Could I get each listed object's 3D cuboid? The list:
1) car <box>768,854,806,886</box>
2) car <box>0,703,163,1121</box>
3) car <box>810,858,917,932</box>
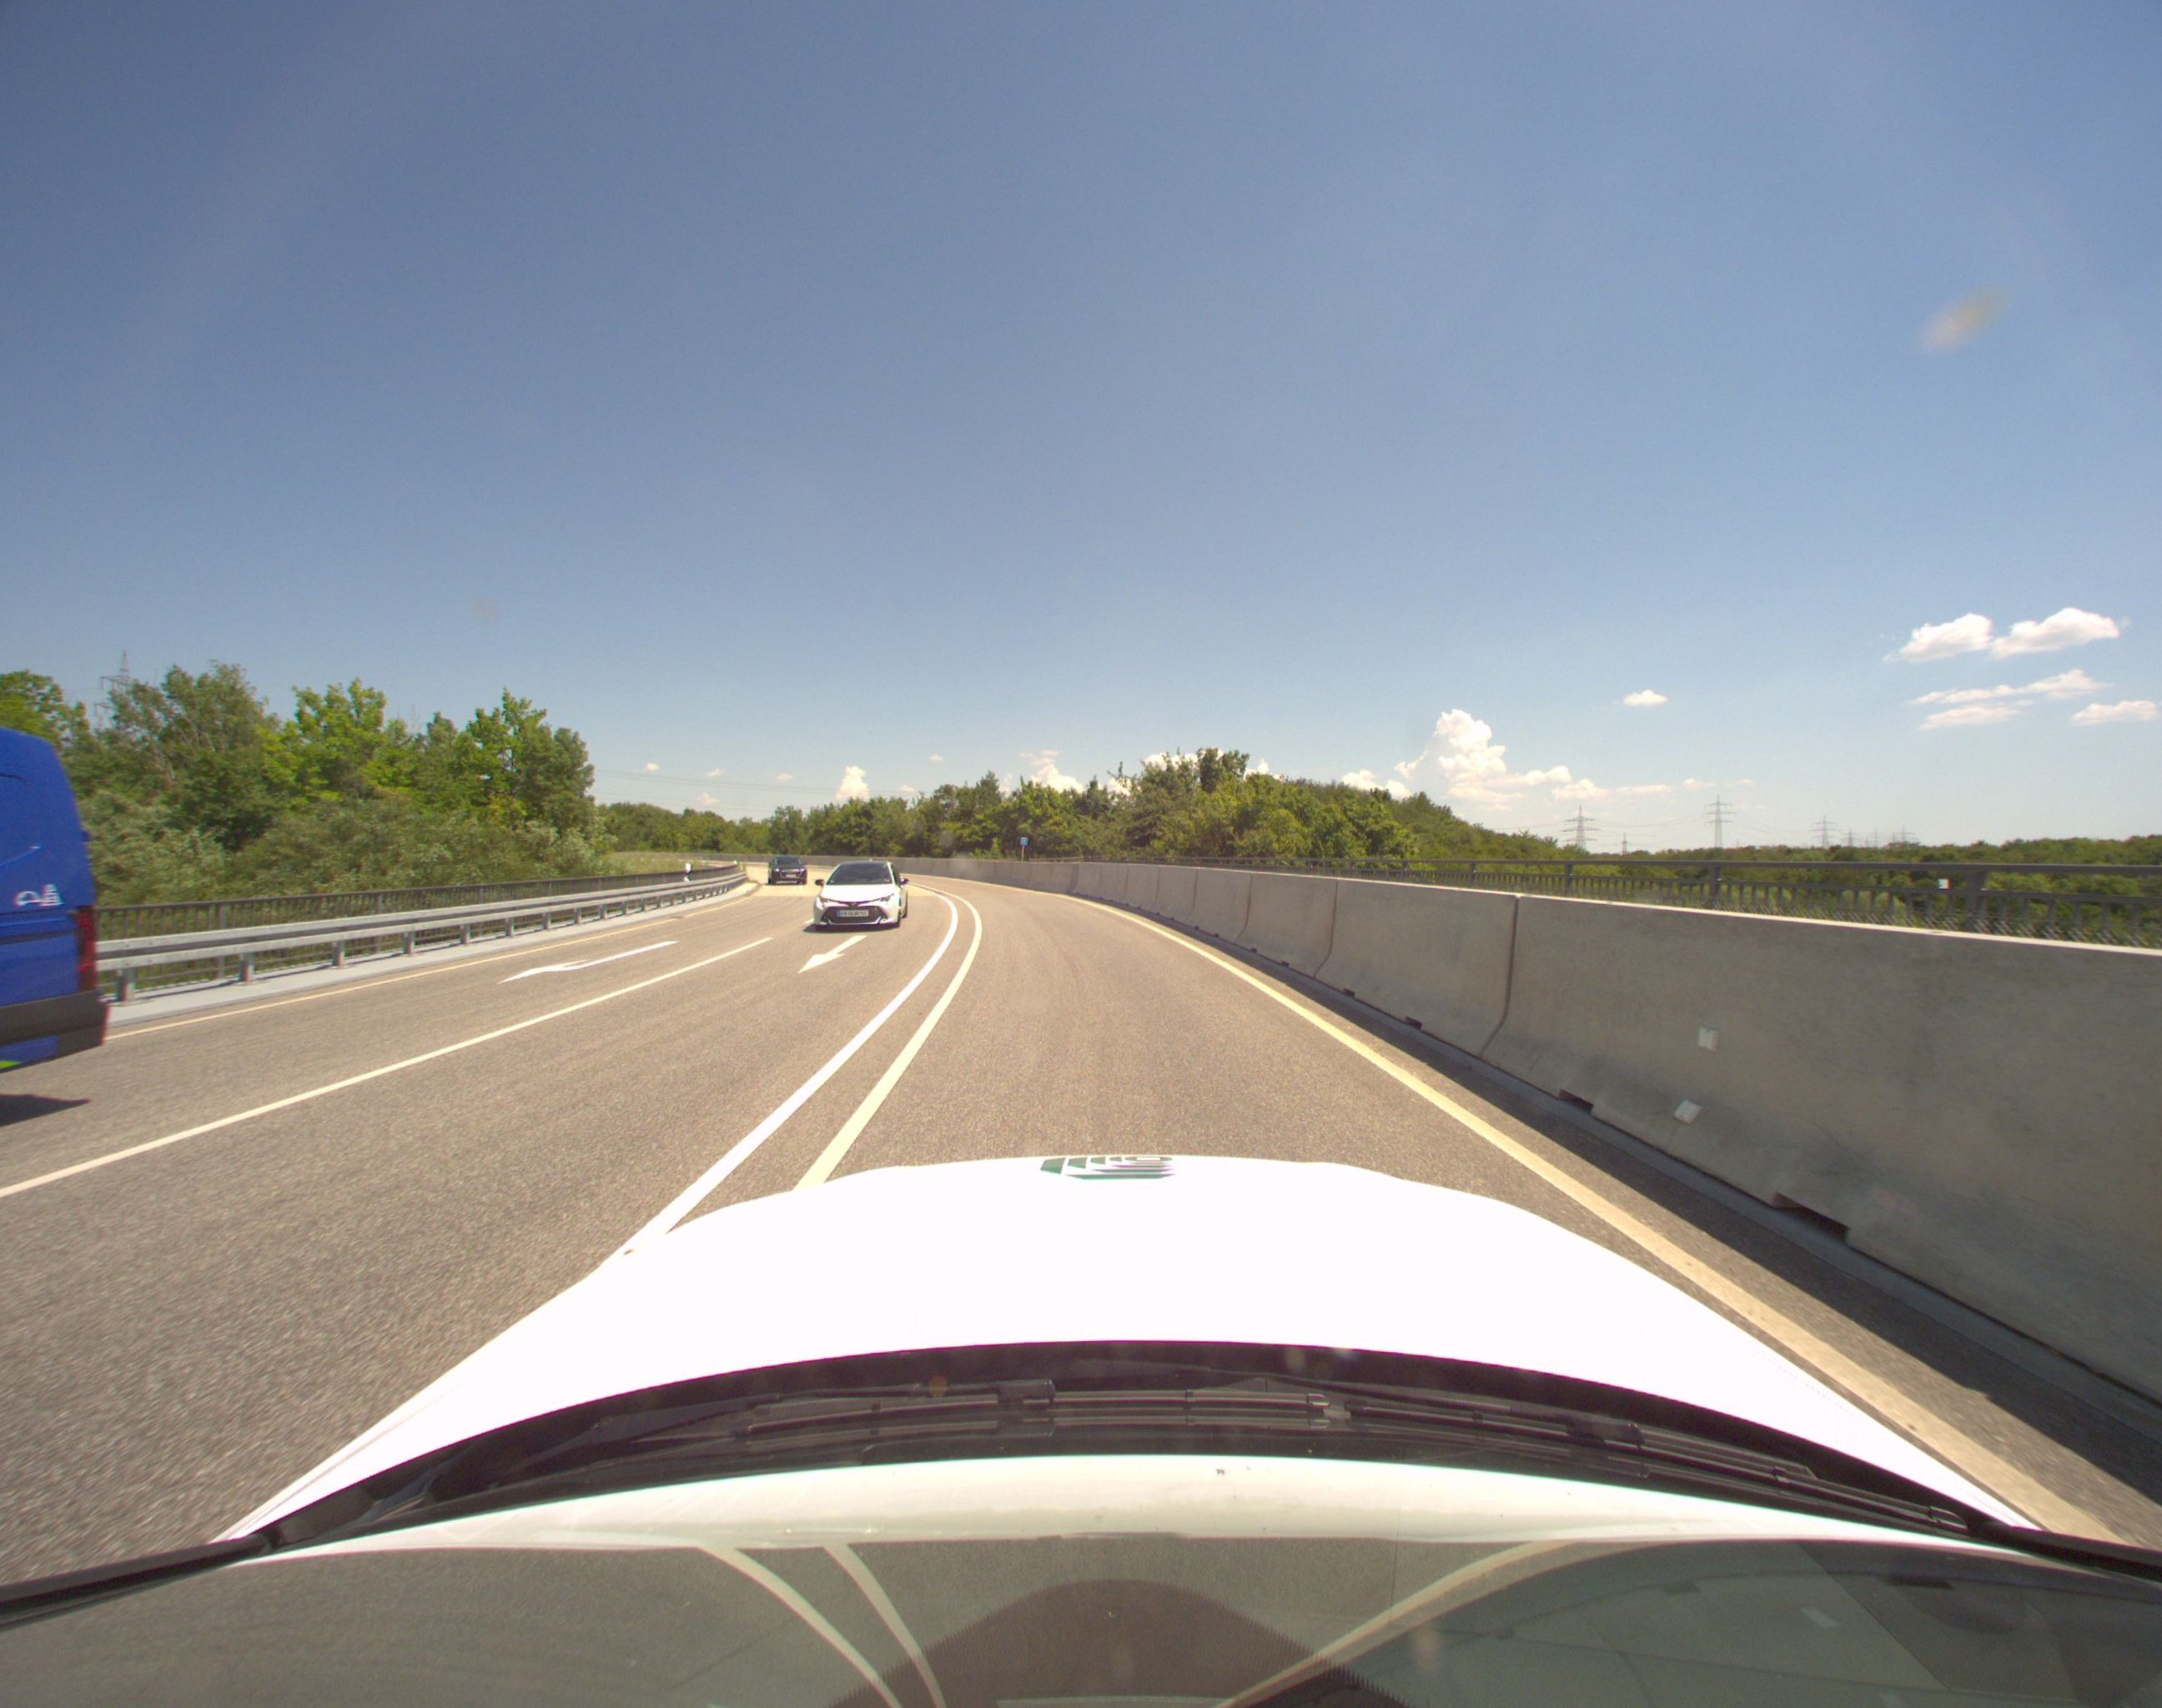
[{"bbox_3d":[-16.130,0.858,44.785,1.821,1.596,4.418,-2,0,-20],"label":"car"},{"bbox_3d":[-7.411,0.361,2.911,1.987,2.484,5.480,-2,0,0],"label":"car"},{"bbox_3d":[-4.879,0.853,18.798,1.741,1.459,4.356,-1,0,-7],"label":"car"}]
